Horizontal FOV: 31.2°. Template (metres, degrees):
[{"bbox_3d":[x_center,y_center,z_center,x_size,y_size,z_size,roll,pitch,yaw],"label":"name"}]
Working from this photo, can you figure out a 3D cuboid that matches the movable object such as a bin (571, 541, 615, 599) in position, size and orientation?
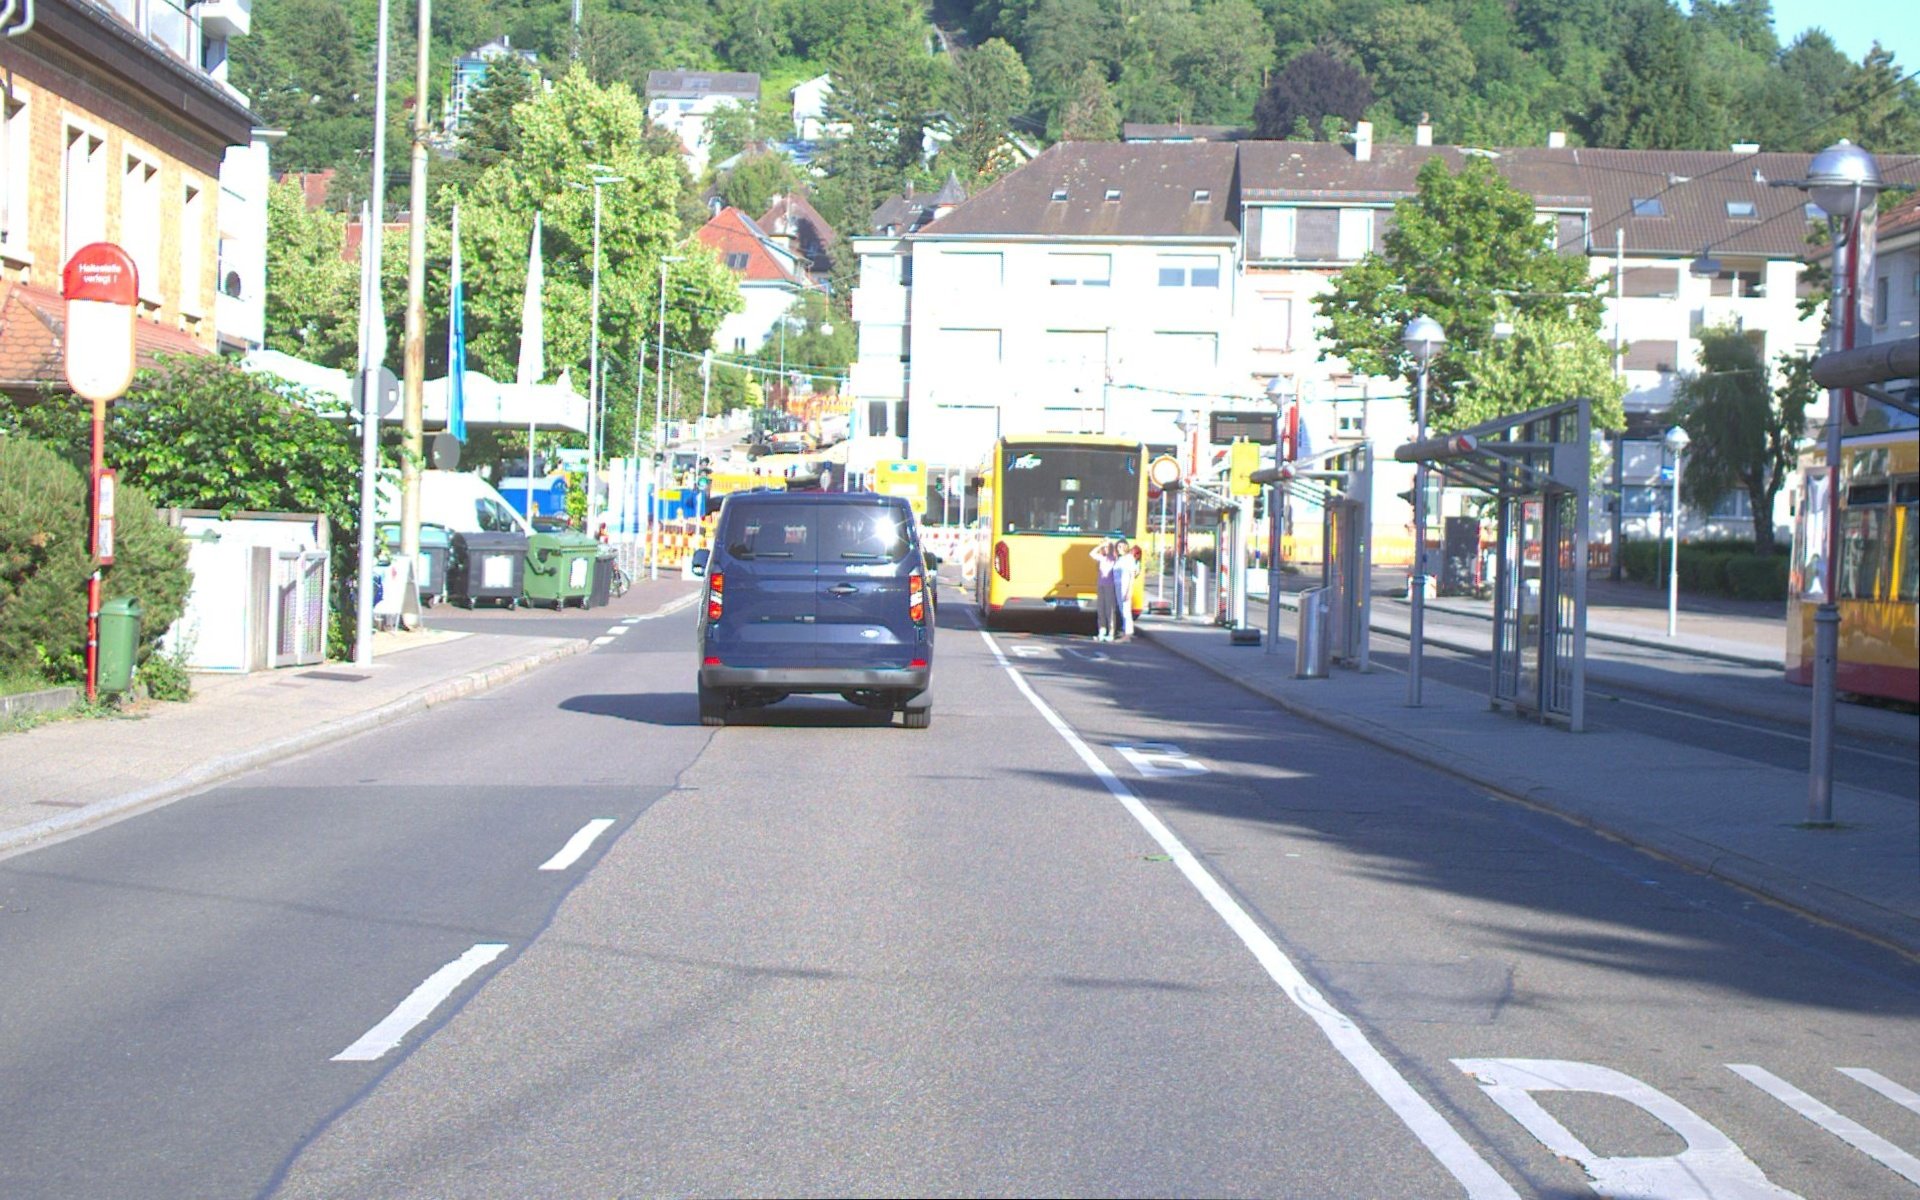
[{"bbox_3d":[-7.130,-0.590,66.809,0.660,1.059,0.585,4,3,11],"label":"movable object such as a bin"}]

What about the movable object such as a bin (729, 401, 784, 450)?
[{"bbox_3d":[-11.663,-9.998,197.631,2.192,2.681,3.998,2,2,10],"label":"movable object such as a bin"}]

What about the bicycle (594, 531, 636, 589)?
[{"bbox_3d":[-7.261,-0.845,72.278,0.723,1.174,1.781,1,1,-10],"label":"bicycle"}]

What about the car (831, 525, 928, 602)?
[{"bbox_3d":[-1.577,-0.741,67.485,1.794,1.405,4.000,2,1,-1],"label":"car"}]

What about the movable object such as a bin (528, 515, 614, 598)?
[{"bbox_3d":[-7.415,-0.841,65.557,1.056,1.477,1.310,4,5,28],"label":"movable object such as a bin"}]

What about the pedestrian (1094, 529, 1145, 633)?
[{"bbox_3d":[2.509,-0.303,54.063,0.544,1.607,0.549,1,1,-38],"label":"pedestrian"}]

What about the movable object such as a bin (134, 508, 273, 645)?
[{"bbox_3d":[-8.072,-0.258,36.748,1.307,1.425,0.992,1,1,-5],"label":"movable object such as a bin"}]

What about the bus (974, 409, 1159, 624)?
[{"bbox_3d":[1.739,-1.533,61.552,2.688,3.404,12.020,1,2,-1],"label":"bus"}]

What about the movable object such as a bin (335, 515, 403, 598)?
[{"bbox_3d":[-11.020,-0.819,64.135,1.177,1.477,0.704,1,4,-5],"label":"movable object such as a bin"}]

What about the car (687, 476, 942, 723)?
[{"bbox_3d":[-1.230,-0.053,30.547,2.061,2.007,5.000,0,1,-1],"label":"car"}]

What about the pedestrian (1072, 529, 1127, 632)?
[{"bbox_3d":[2.208,-0.308,54.454,0.544,1.607,0.636,1,1,-38],"label":"pedestrian"}]

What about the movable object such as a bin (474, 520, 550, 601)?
[{"bbox_3d":[-8.413,-0.749,64.580,1.218,1.477,0.704,-1,5,-29],"label":"movable object such as a bin"}]

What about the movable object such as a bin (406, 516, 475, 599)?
[{"bbox_3d":[-9.707,-0.803,64.294,1.218,1.477,0.704,1,4,-5],"label":"movable object such as a bin"}]

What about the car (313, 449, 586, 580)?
[{"bbox_3d":[-10.351,-1.727,69.722,5.054,2.461,2.109,2,1,-22],"label":"car"}]

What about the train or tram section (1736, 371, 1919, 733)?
[{"bbox_3d":[10.831,-0.449,32.744,2.957,3.522,15.971,1,0,-1],"label":"train or tram section"}]
